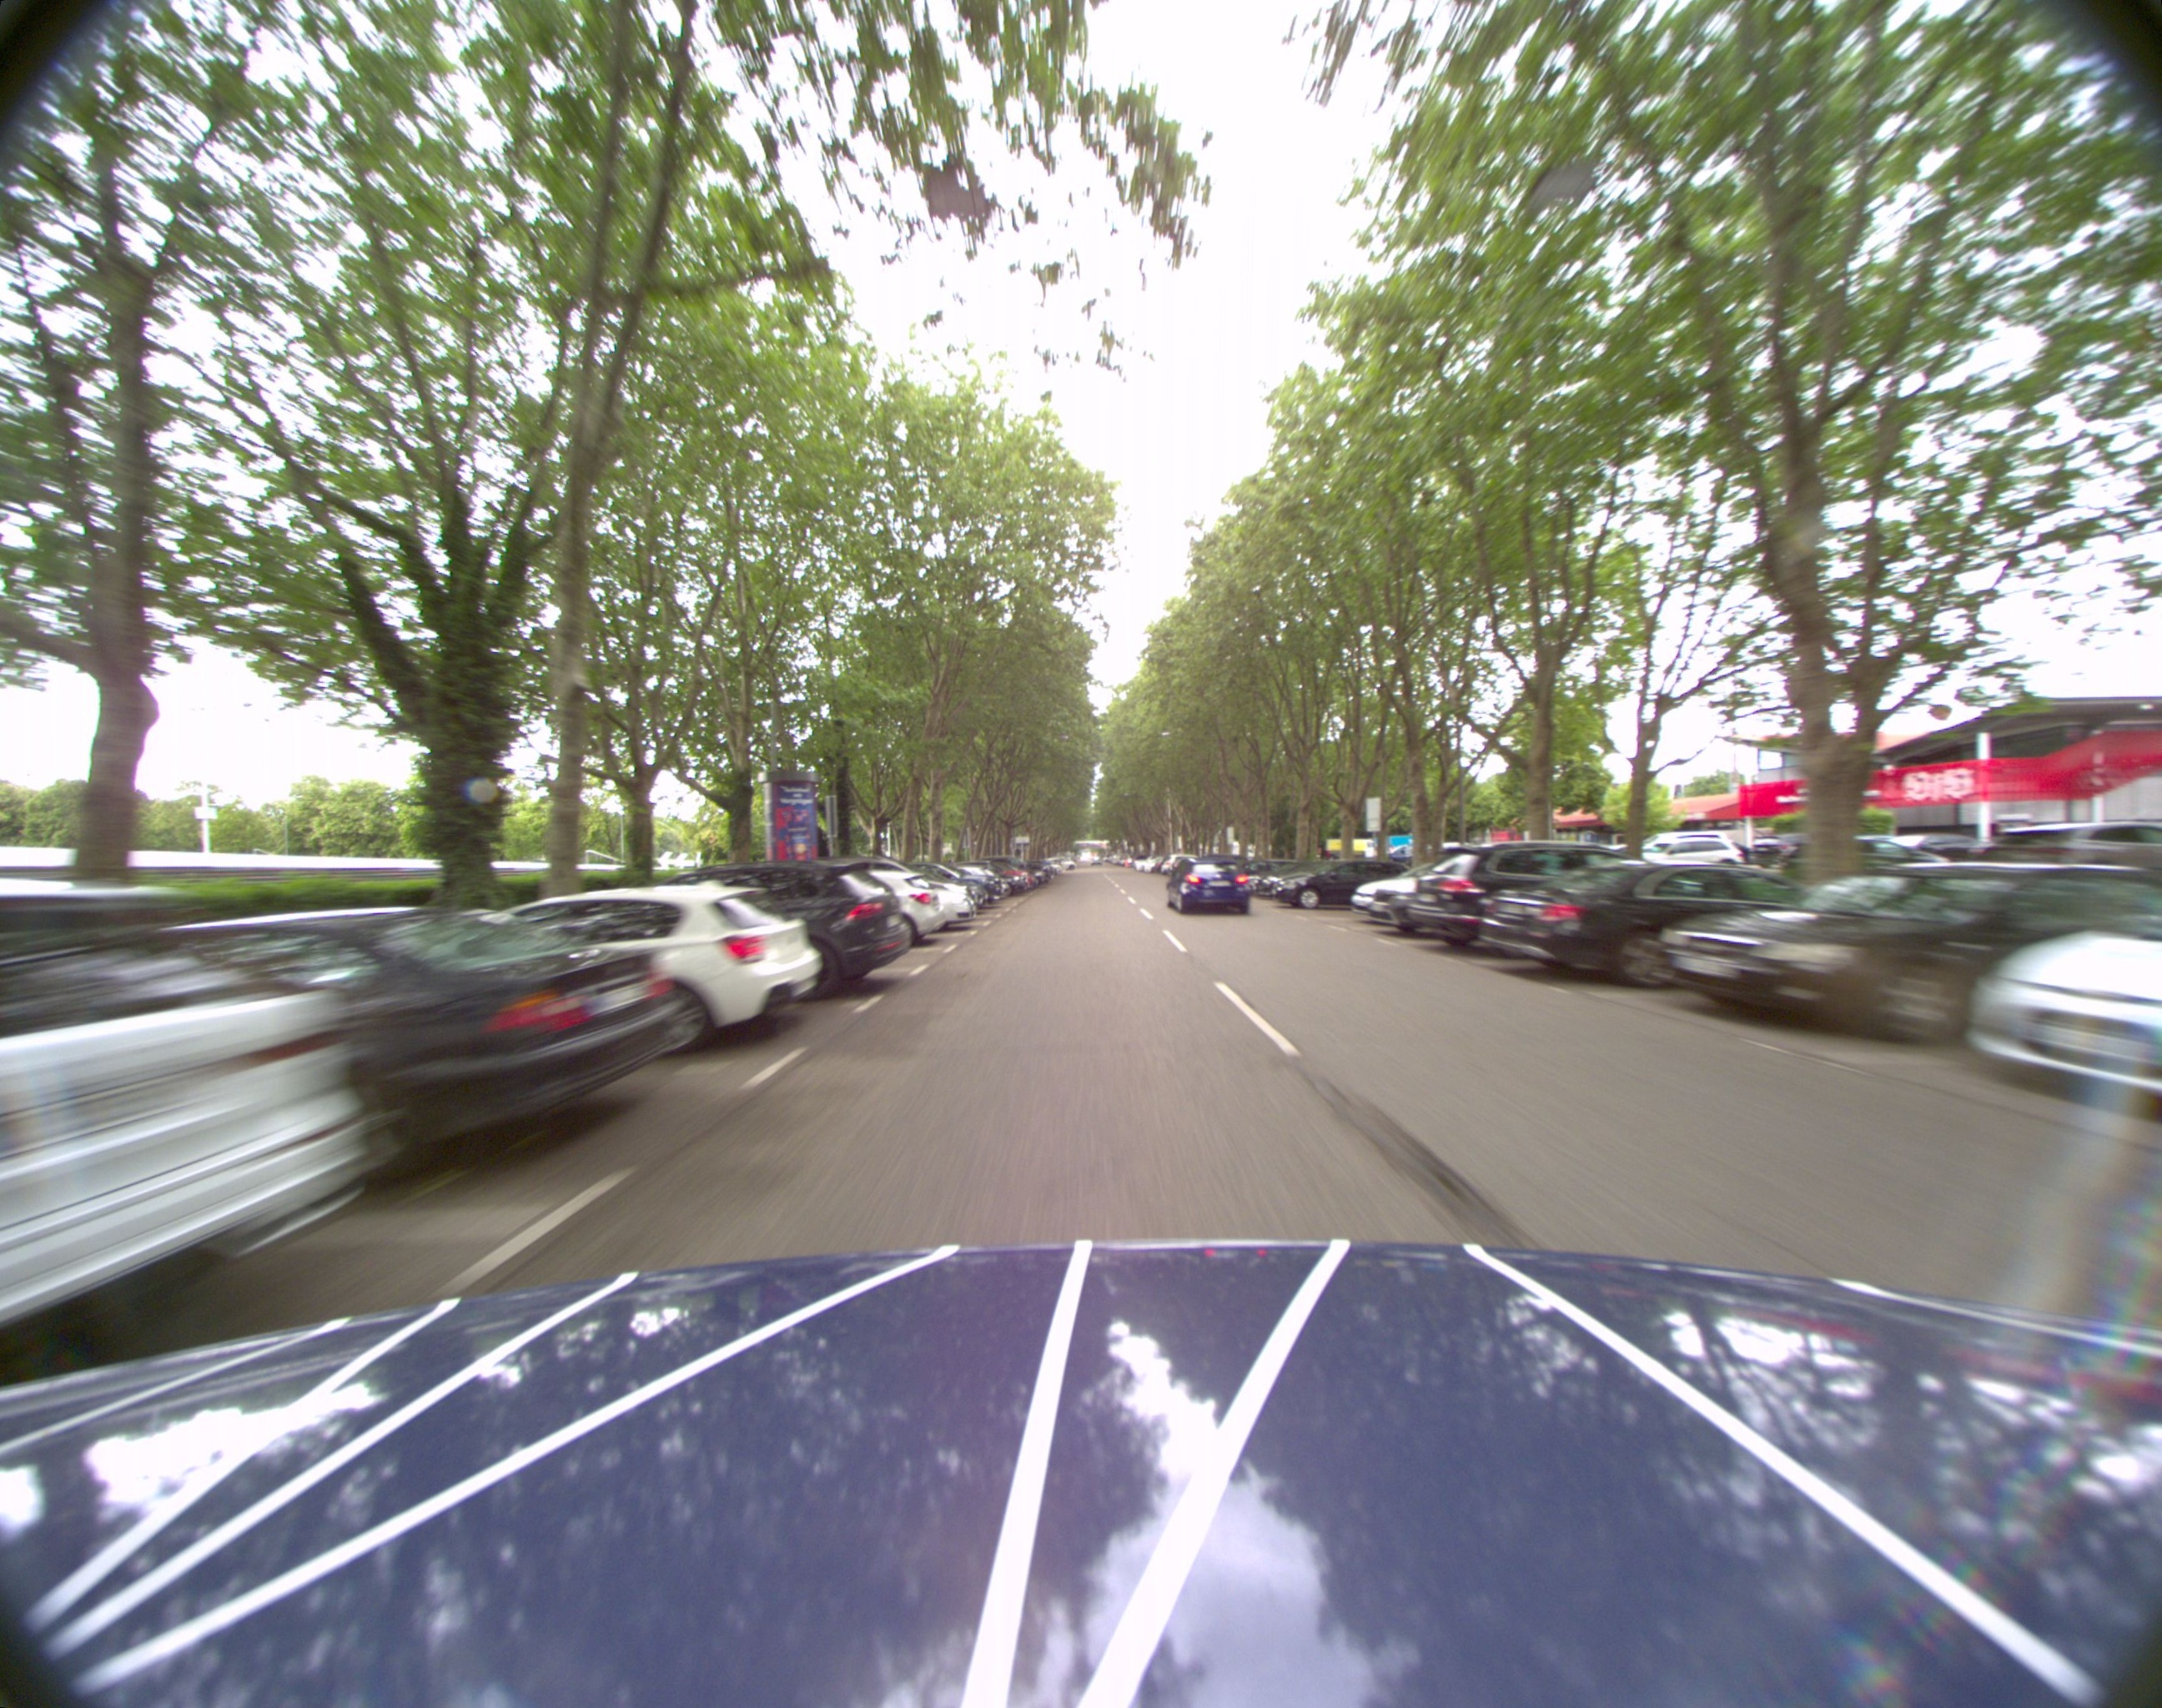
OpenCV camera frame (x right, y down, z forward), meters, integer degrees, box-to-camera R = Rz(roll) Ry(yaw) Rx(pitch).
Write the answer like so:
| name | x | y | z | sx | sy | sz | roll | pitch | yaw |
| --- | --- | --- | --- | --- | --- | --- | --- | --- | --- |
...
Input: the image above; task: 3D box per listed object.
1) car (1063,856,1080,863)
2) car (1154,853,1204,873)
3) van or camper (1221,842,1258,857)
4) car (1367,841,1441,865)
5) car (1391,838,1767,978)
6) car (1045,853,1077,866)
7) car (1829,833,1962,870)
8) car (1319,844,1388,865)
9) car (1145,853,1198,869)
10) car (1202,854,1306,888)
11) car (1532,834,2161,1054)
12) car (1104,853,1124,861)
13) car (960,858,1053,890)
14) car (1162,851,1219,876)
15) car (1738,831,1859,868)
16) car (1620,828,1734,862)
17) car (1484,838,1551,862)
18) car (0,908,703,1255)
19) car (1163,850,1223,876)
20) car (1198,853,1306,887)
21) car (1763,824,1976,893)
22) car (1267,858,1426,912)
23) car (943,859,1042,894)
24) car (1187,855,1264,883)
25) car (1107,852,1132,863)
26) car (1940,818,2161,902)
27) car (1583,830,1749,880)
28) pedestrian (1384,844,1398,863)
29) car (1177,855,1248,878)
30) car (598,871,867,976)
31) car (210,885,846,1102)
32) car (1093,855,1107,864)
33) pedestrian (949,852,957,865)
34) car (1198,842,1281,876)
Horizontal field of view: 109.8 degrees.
| name | x | y | z | sx | sy | sz | roll | pitch | yaw |
| --- | --- | --- | --- | --- | --- | --- | --- | --- | --- |
| car | -2.406 | 1.409 | 189.663 | 3.998 | 1.641 | 1.999 | -2 | 1 | -3 |
| car | 8.211 | 0.754 | 64.048 | 3.996 | 1.445 | 1.855 | -2 | 1 | 2 |
| van or camper | 24.602 | -0.687 | 117.963 | 5.299 | 2.087 | 2.244 | -2 | 1 | -2 |
| car | 23.543 | -0.057 | 55.464 | 4.564 | 1.710 | 2.000 | 0 | 0 | -2 |
| car | 7.317 | 0.743 | 11.546 | 4.328 | 1.785 | 2.036 | -2 | 1 | 1 |
| car | -3.169 | 0.867 | 121.615 | 4.674 | 1.891 | 2.001 | -4 | 0 | 5 |
| car | 34.136 | -0.112 | 31.903 | 3.997 | 1.364 | 1.506 | -2 | 1 | -1 |
| car | 24.118 | 0.039 | 67.458 | 5.362 | 1.587 | 2.094 | -2 | 1 | -1 |
| car | 8.186 | 0.633 | 69.079 | 4.420 | 1.435 | 2.046 | 0 | 0 | -4 |
| car | 7.160 | 0.699 | 31.644 | 3.941 | 1.390 | 1.703 | 0 | 0 | -1 |
| car | 7.029 | 0.747 | 7.243 | 4.328 | 1.799 | 1.867 | 0 | 0 | 1 |
| car | 8.296 | 0.716 | 191.870 | 4.919 | 1.817 | 2.000 | -2 | -2 | -3 |
| car | -3.793 | 1.018 | 39.299 | 4.506 | 1.420 | 1.932 | -3 | 0 | 1 |
| car | 8.177 | 0.667 | 56.847 | 3.996 | 1.672 | 1.855 | -2 | 1 | 2 |
| car | 34.472 | -0.226 | 36.572 | 3.998 | 1.616 | 1.999 | -2 | 1 | -3 |
| car | 34.765 | -0.518 | 44.396 | 4.954 | 1.786 | 2.182 | -2 | 1 | -2 |
| car | 33.577 | -0.312 | 58.555 | 3.998 | 1.617 | 1.999 | -2 | 1 | -4 |
| car | -4.618 | 1.197 | 4.544 | 3.740 | 1.394 | 1.776 | -3 | 0 | 0 |
| car | 7.959 | 0.642 | 54.425 | 3.996 | 1.672 | 1.855 | -2 | 1 | 2 |
| car | 7.614 | 0.716 | 34.082 | 4.475 | 1.473 | 1.703 | 0 | 0 | -1 |
| car | 23.641 | 0.121 | 22.917 | 4.332 | 1.850 | 2.028 | -2 | 1 | 0 |
| car | 7.533 | 0.865 | 21.871 | 3.987 | 1.412 | 1.756 | 1 | 0 | 4 |
| car | -4.249 | 1.076 | 36.940 | 4.506 | 1.411 | 1.829 | -3 | 0 | 2 |
| car | 7.891 | 0.796 | 41.799 | 3.940 | 1.507 | 1.728 | 0 | 0 | 2 |
| car | 7.168 | 0.706 | 141.769 | 4.491 | 1.740 | 2.001 | -4 | 0 | 5 |
| car | 23.531 | 0.080 | 17.654 | 4.563 | 1.716 | 2.296 | -2 | 1 | 0 |
| car | 23.176 | 0.054 | 30.255 | 4.954 | 1.786 | 2.183 | -1 | 0 | -2 |
| pedestrian | 29.422 | -0.025 | 72.052 | 0.944 | 1.790 | 0.918 | -1 | 1 | 1 |
| car | 8.020 | 0.756 | 46.496 | 4.003 | 1.412 | 1.703 | 0 | 0 | -1 |
| car | -5.350 | 1.037 | 11.996 | 3.443 | 1.484 | 1.680 | 0 | 0 | 0 |
| car | -4.690 | 1.145 | 7.025 | 4.357 | 1.447 | 1.949 | -3 | 0 | -1 |
| car | 3.310 | 0.924 | 132.957 | 1.999 | 1.375 | 4.678 | -4 | 0 | -3 |
| pedestrian | -15.847 | 0.545 | 93.992 | 0.724 | 1.558 | 0.698 | -2 | 1 | 7 |
| car | 8.218 | 0.256 | 39.587 | 3.941 | 1.698 | 1.752 | 0 | 0 | -1 |
